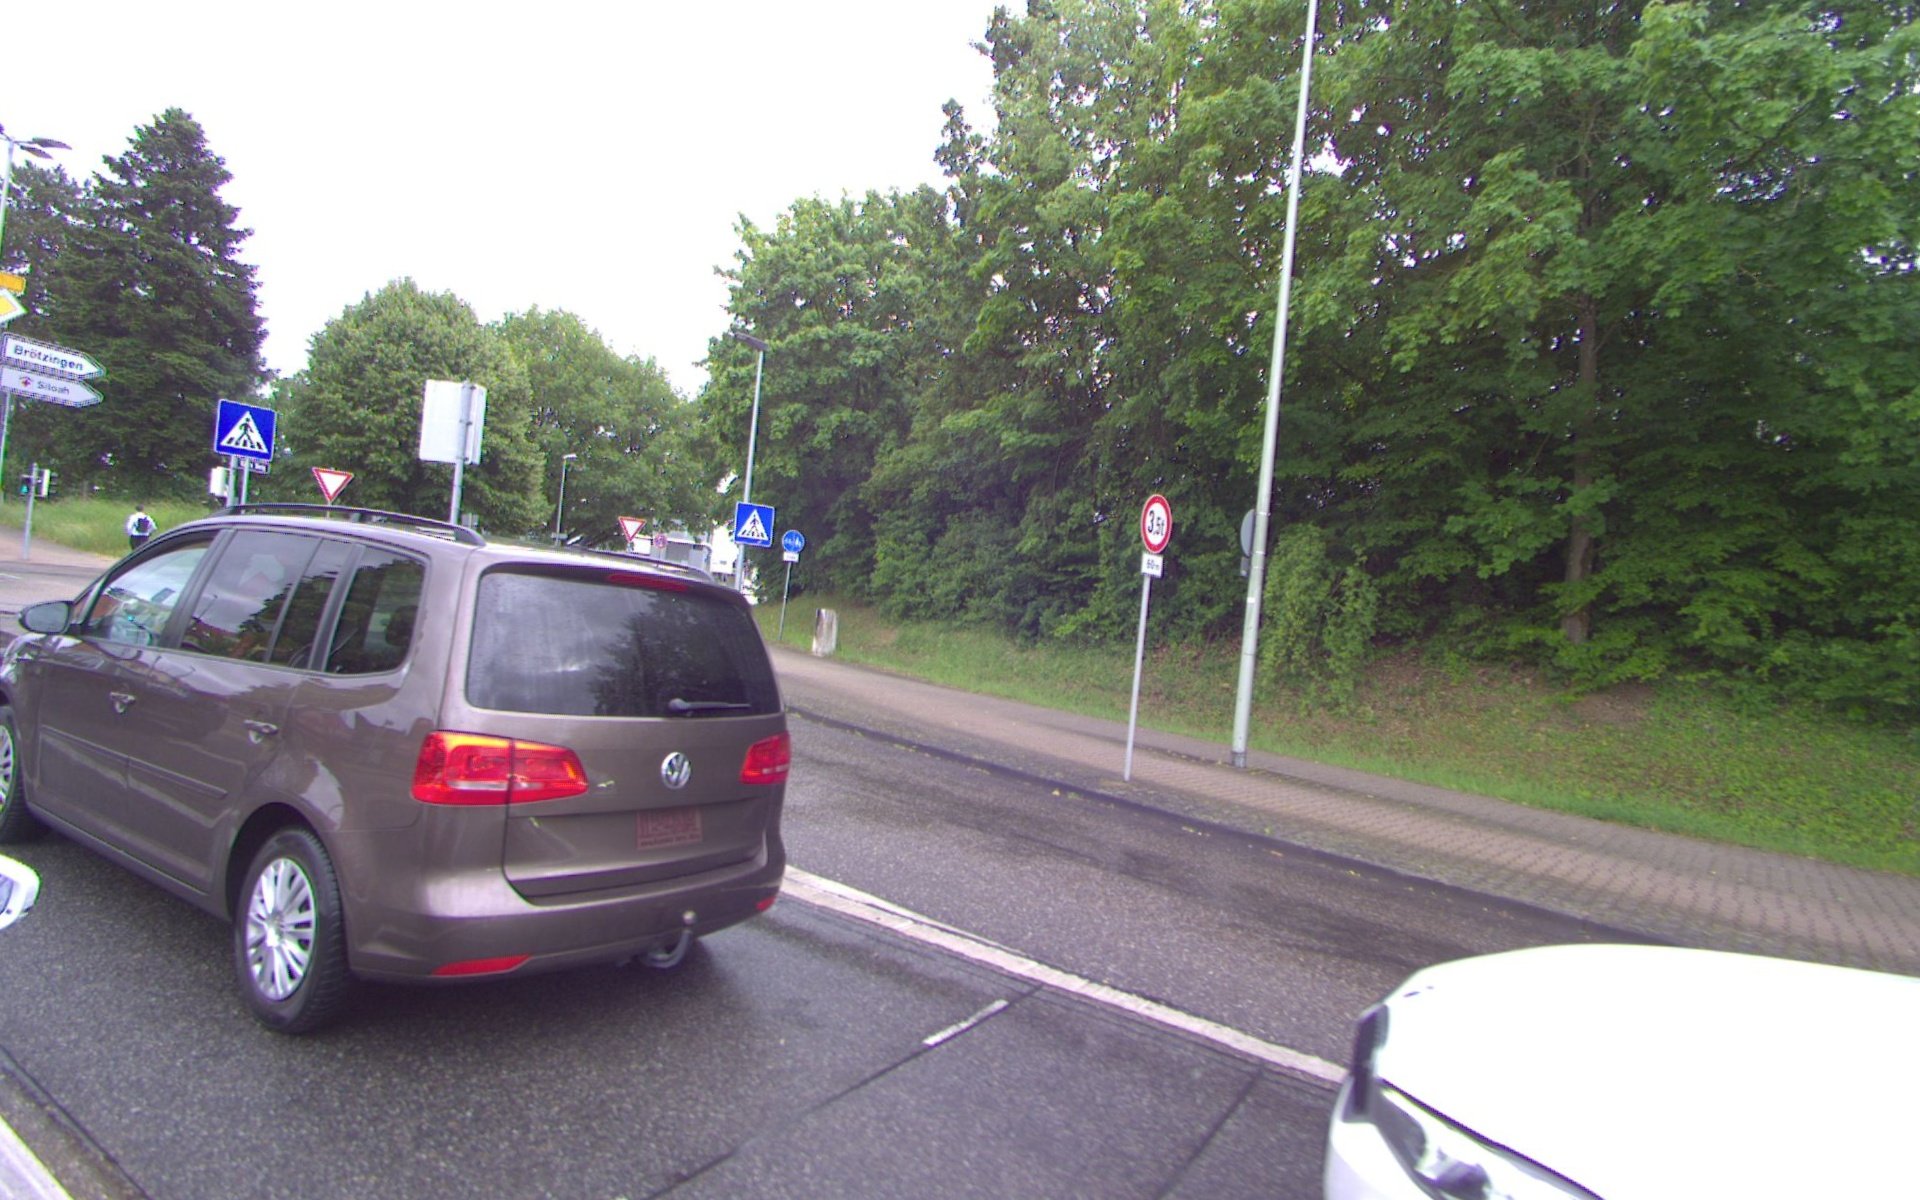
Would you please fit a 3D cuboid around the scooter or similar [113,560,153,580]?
[{"bbox_3d":[-23.658,-0.856,28.783,1.235,0.408,0.487,7,0,31],"label":"scooter or similar"}]

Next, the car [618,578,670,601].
[{"bbox_3d":[-23.111,-0.734,73.775,1.817,1.446,4.001,5,0,12],"label":"car"}]

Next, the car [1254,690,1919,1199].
[{"bbox_3d":[2.920,1.170,1.311,4.601,1.473,1.784,6,-2,30],"label":"car"}]

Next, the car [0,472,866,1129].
[{"bbox_3d":[-2.572,0.458,4.362,3.915,1.628,1.750,6,-2,32],"label":"car"}]

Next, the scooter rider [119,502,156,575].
[{"bbox_3d":[-23.499,-1.748,28.742,0.538,1.990,0.501,7,1,31],"label":"scooter rider"}]

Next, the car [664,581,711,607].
[{"bbox_3d":[-22.795,-0.477,84.221,1.818,1.883,3.999,5,0,18],"label":"car"}]
